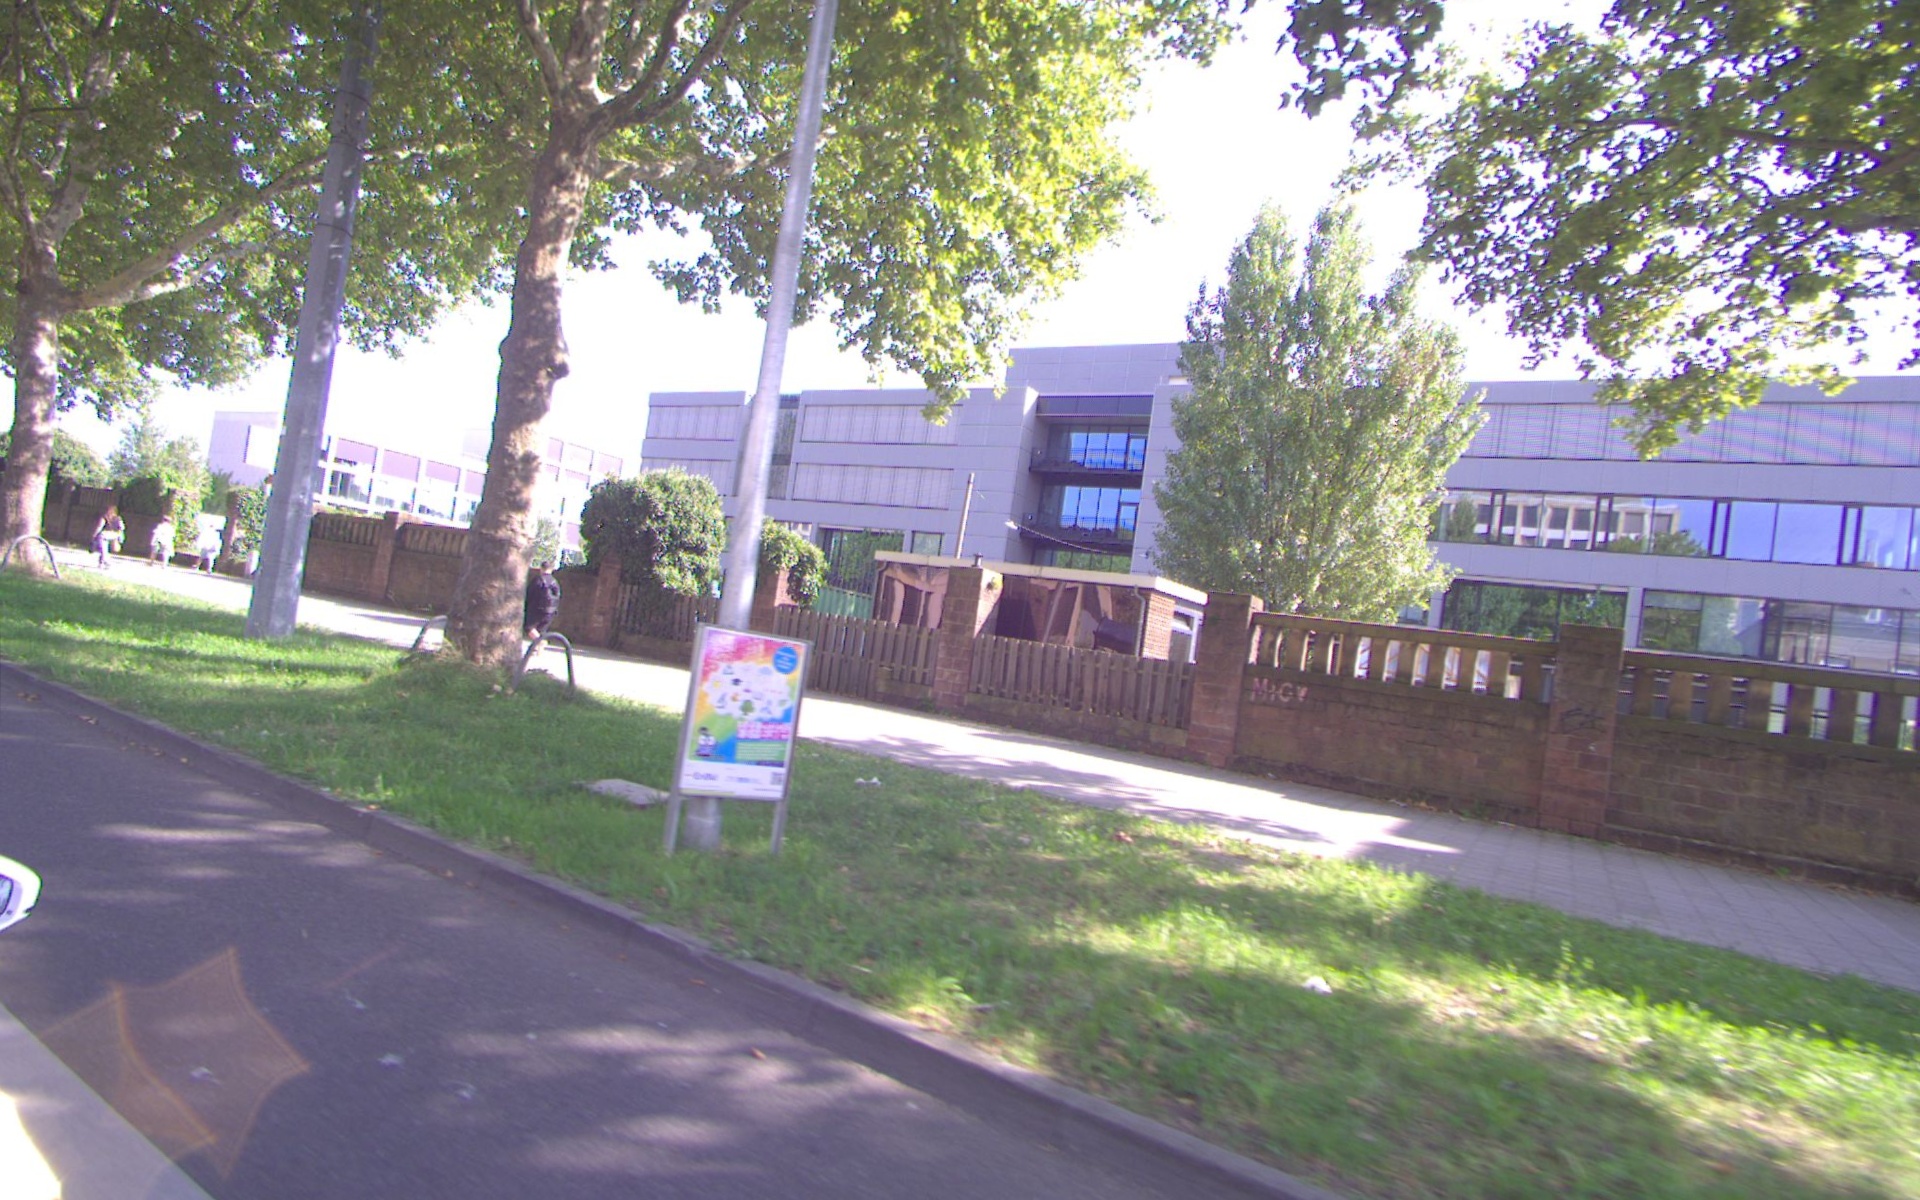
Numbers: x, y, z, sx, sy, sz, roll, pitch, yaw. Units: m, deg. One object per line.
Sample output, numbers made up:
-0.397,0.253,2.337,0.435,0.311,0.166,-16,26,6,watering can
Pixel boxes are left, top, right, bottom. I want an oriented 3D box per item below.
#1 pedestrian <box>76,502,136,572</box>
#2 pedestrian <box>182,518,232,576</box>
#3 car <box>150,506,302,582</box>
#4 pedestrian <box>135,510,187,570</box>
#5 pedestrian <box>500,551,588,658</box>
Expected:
-21.936,-1.618,25.848,0.931,1.656,0.807,7,0,32,pedestrian
-23.133,-1.613,30.892,0.931,1.623,0.807,7,0,32,pedestrian
-31.558,-2.357,43.420,2.022,2.342,4.676,7,-4,31,car
-23.785,-1.777,29.956,0.931,1.623,0.807,7,0,32,pedestrian
-7.337,0.086,17.741,0.995,1.706,0.820,7,-1,32,pedestrian
